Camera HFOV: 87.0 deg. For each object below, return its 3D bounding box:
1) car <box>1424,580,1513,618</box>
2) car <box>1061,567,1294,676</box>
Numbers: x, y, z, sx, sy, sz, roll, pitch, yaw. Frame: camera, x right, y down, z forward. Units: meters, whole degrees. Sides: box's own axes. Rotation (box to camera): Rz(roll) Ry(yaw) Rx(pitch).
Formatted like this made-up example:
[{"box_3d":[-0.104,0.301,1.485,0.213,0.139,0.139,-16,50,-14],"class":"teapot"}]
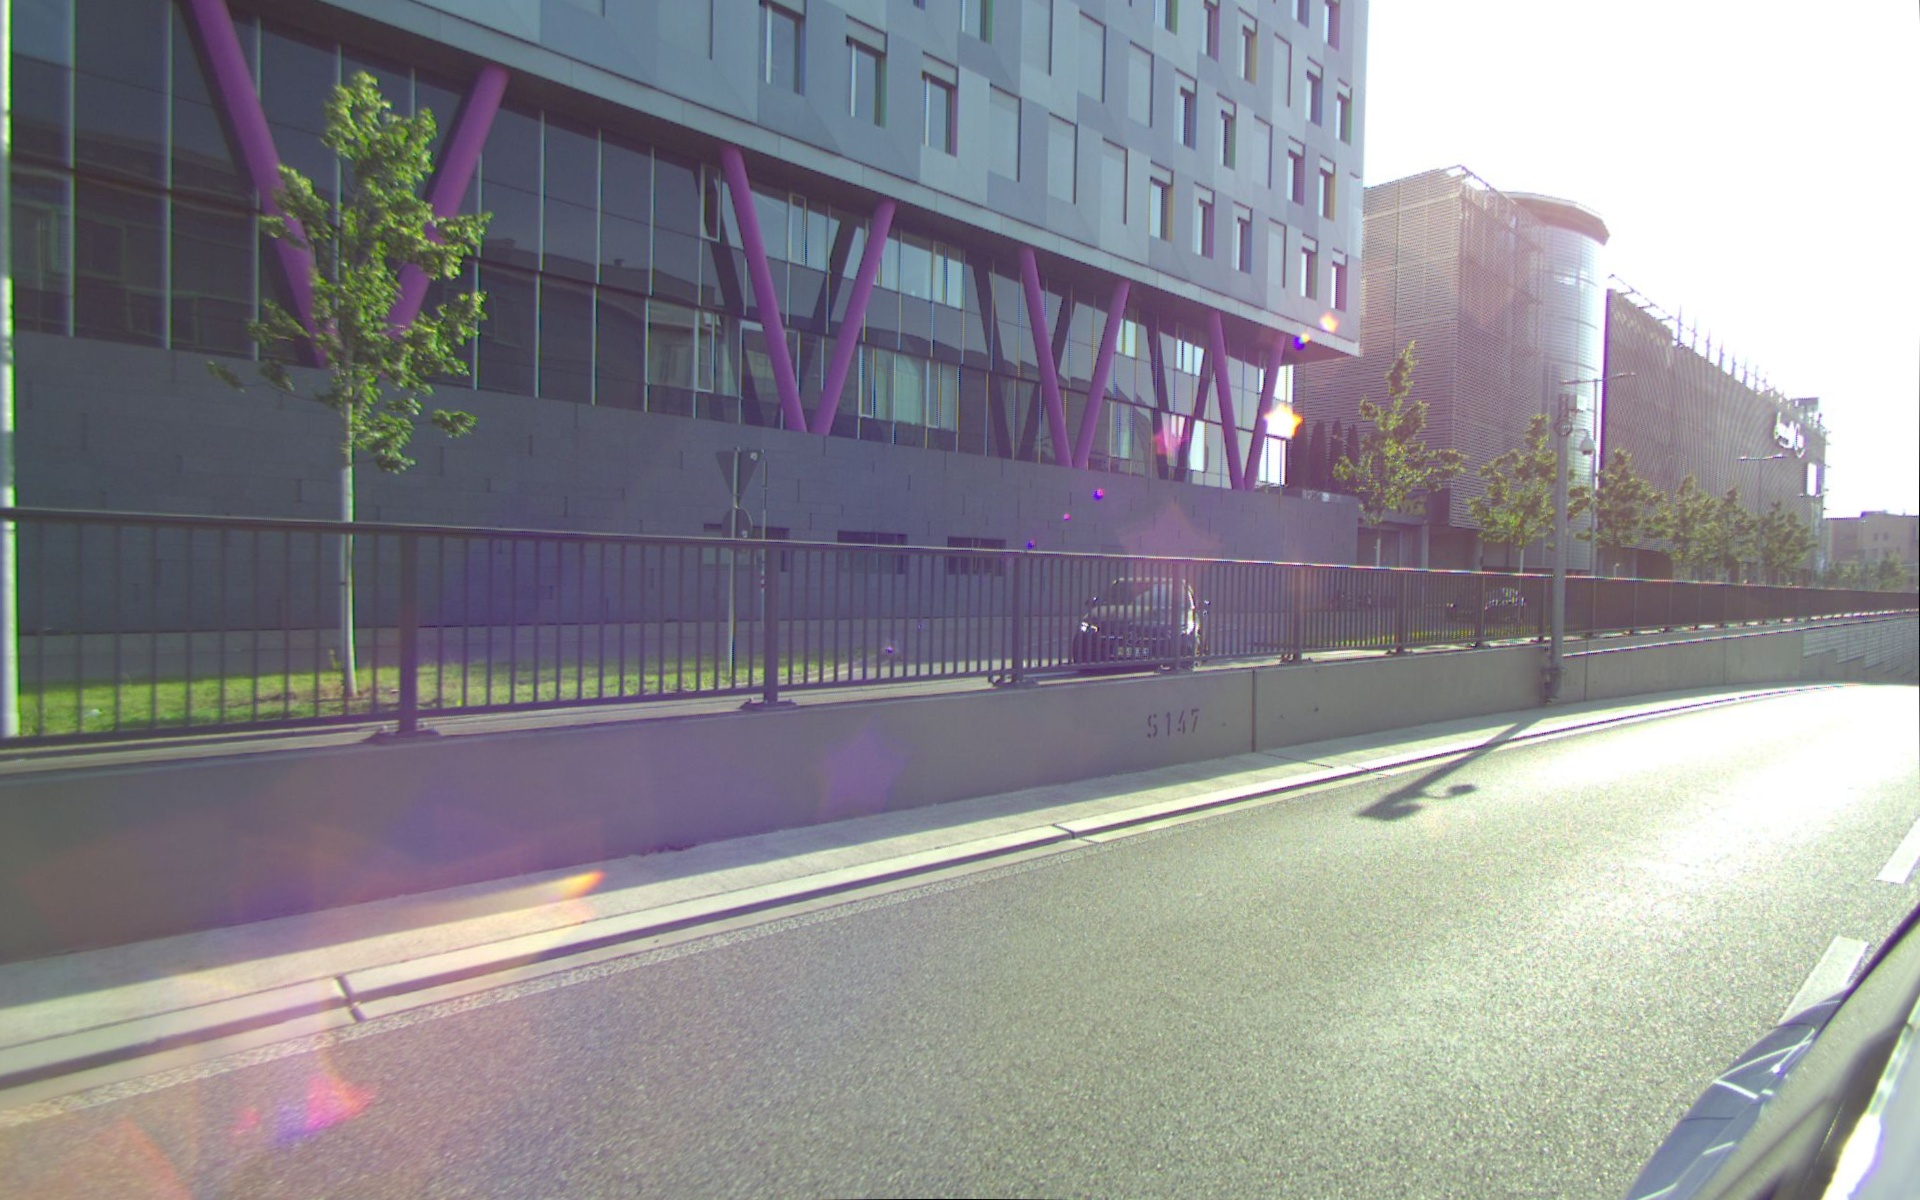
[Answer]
[{"box_3d":[21.083,-0.083,41.862,4.398,1.444,1.892,-2,2,-43],"class":"car"},{"box_3d":[3.572,0.272,15.982,1.835,1.468,4.493,1,1,38],"class":"car"}]
